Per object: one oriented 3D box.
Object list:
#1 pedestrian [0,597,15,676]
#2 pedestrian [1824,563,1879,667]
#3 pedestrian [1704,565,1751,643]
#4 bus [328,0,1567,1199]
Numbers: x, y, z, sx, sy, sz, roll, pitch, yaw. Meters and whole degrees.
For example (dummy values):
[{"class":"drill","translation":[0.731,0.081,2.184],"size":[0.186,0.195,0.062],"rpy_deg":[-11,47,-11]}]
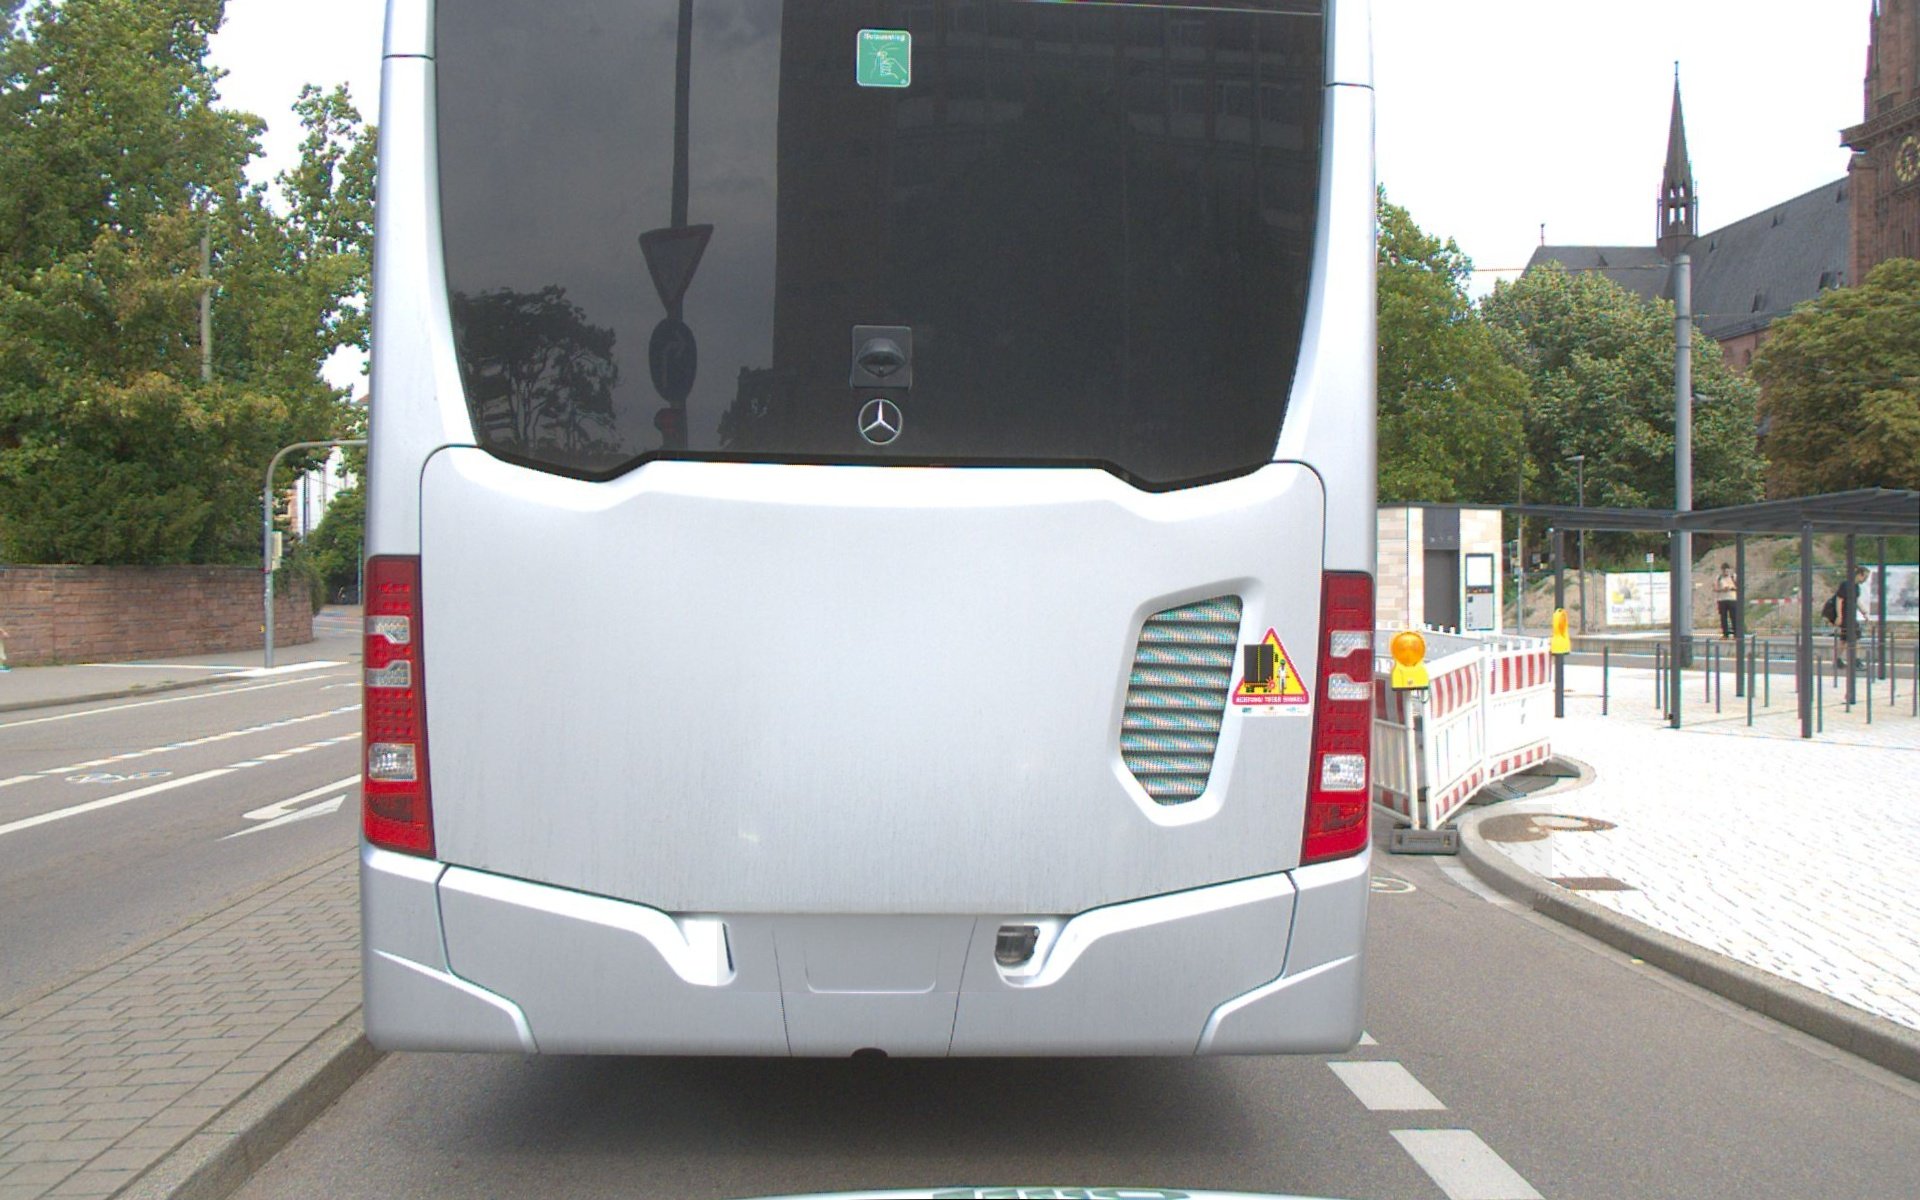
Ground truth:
[{"class":"pedestrian","translation":[-20.723,0.785,35.409],"size":[0.519,1.683,0.630],"rpy_deg":[1,3,24]},{"class":"pedestrian","translation":[14.838,0.238,27.537],"size":[0.526,1.683,0.621],"rpy_deg":[-2,3,-38]},{"class":"pedestrian","translation":[18.415,0.085,39.704],"size":[0.803,1.832,0.753],"rpy_deg":[0,3,9]},{"class":"bus","translation":[0.137,-0.293,10.636],"size":[2.648,3.498,14.186],"rpy_deg":[0,0,1]}]
